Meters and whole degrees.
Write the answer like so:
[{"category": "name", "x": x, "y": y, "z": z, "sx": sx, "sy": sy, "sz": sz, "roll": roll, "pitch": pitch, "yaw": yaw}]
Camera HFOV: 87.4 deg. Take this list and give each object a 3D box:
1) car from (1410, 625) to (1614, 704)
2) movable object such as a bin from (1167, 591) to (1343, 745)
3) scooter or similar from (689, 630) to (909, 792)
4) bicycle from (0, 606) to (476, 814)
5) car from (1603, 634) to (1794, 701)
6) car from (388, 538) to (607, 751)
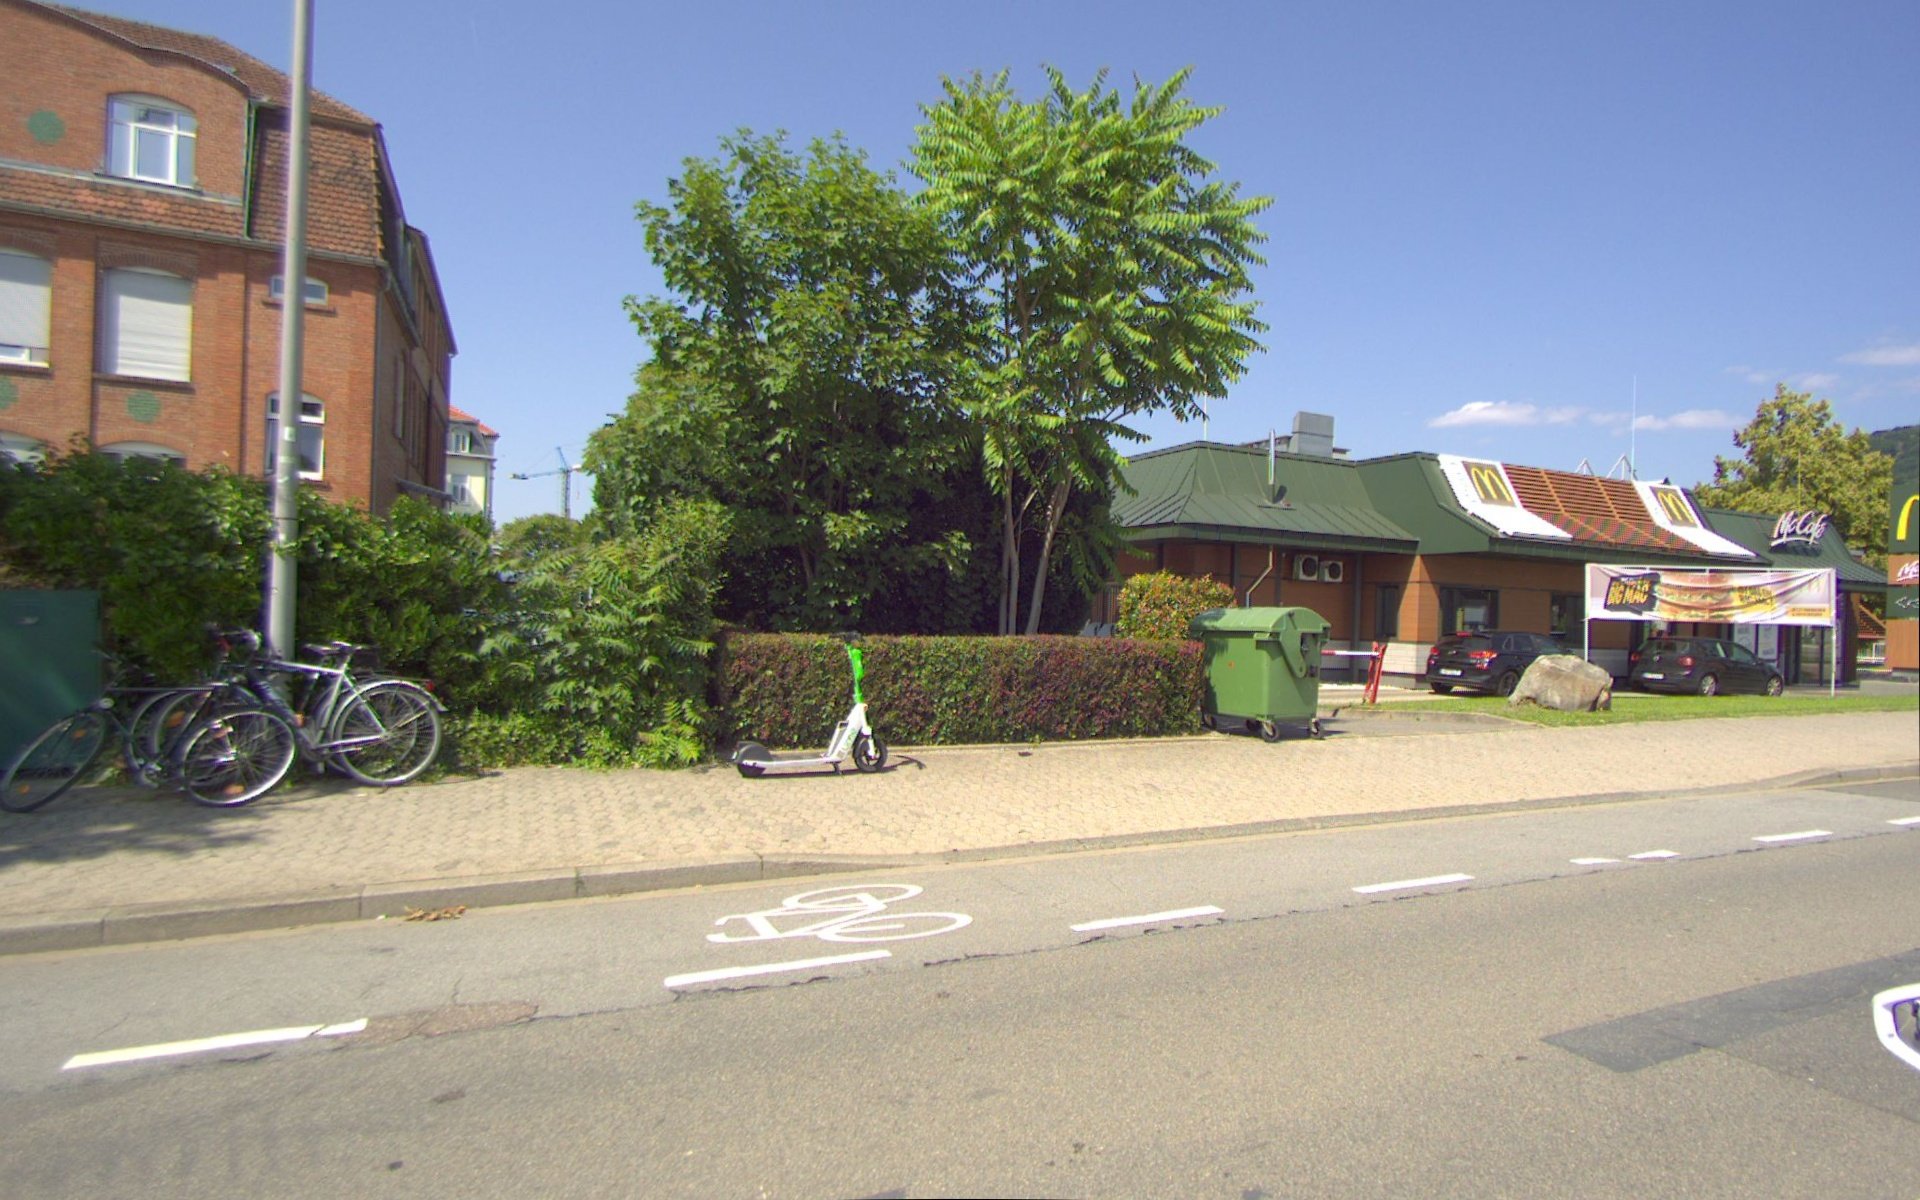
[{"category": "car", "x": 12.256, "y": 1.379, "z": 22.294, "sx": 4.264, "sy": 1.496, "sz": 1.821, "roll": 1, "pitch": 2, "yaw": -26}, {"category": "movable object such as a bin", "x": 3.349, "y": 0.727, "z": 11.470, "sx": 1.293, "sy": 1.611, "sz": 1.440, "roll": 1, "pitch": -1, "yaw": -33}, {"category": "scooter or similar", "x": -1.284, "y": 0.842, "z": 8.099, "sx": 1.604, "sy": 1.143, "sz": 0.643, "roll": 1, "pitch": 3, "yaw": -31}, {"category": "bicycle", "x": -4.791, "y": 0.663, "z": 6.757, "sx": 2.730, "sy": 1.133, "sz": 1.022, "roll": 1, "pitch": 3, "yaw": -27}, {"category": "car", "x": 18.412, "y": 1.649, "z": 25.059, "sx": 4.070, "sy": 1.435, "sz": 1.989, "roll": 1, "pitch": 2, "yaw": -22}, {"category": "car", "x": -4.784, "y": 0.533, "z": 10.878, "sx": 1.759, "sy": 1.864, "sz": 3.762, "roll": 1, "pitch": -4, "yaw": -20}]
